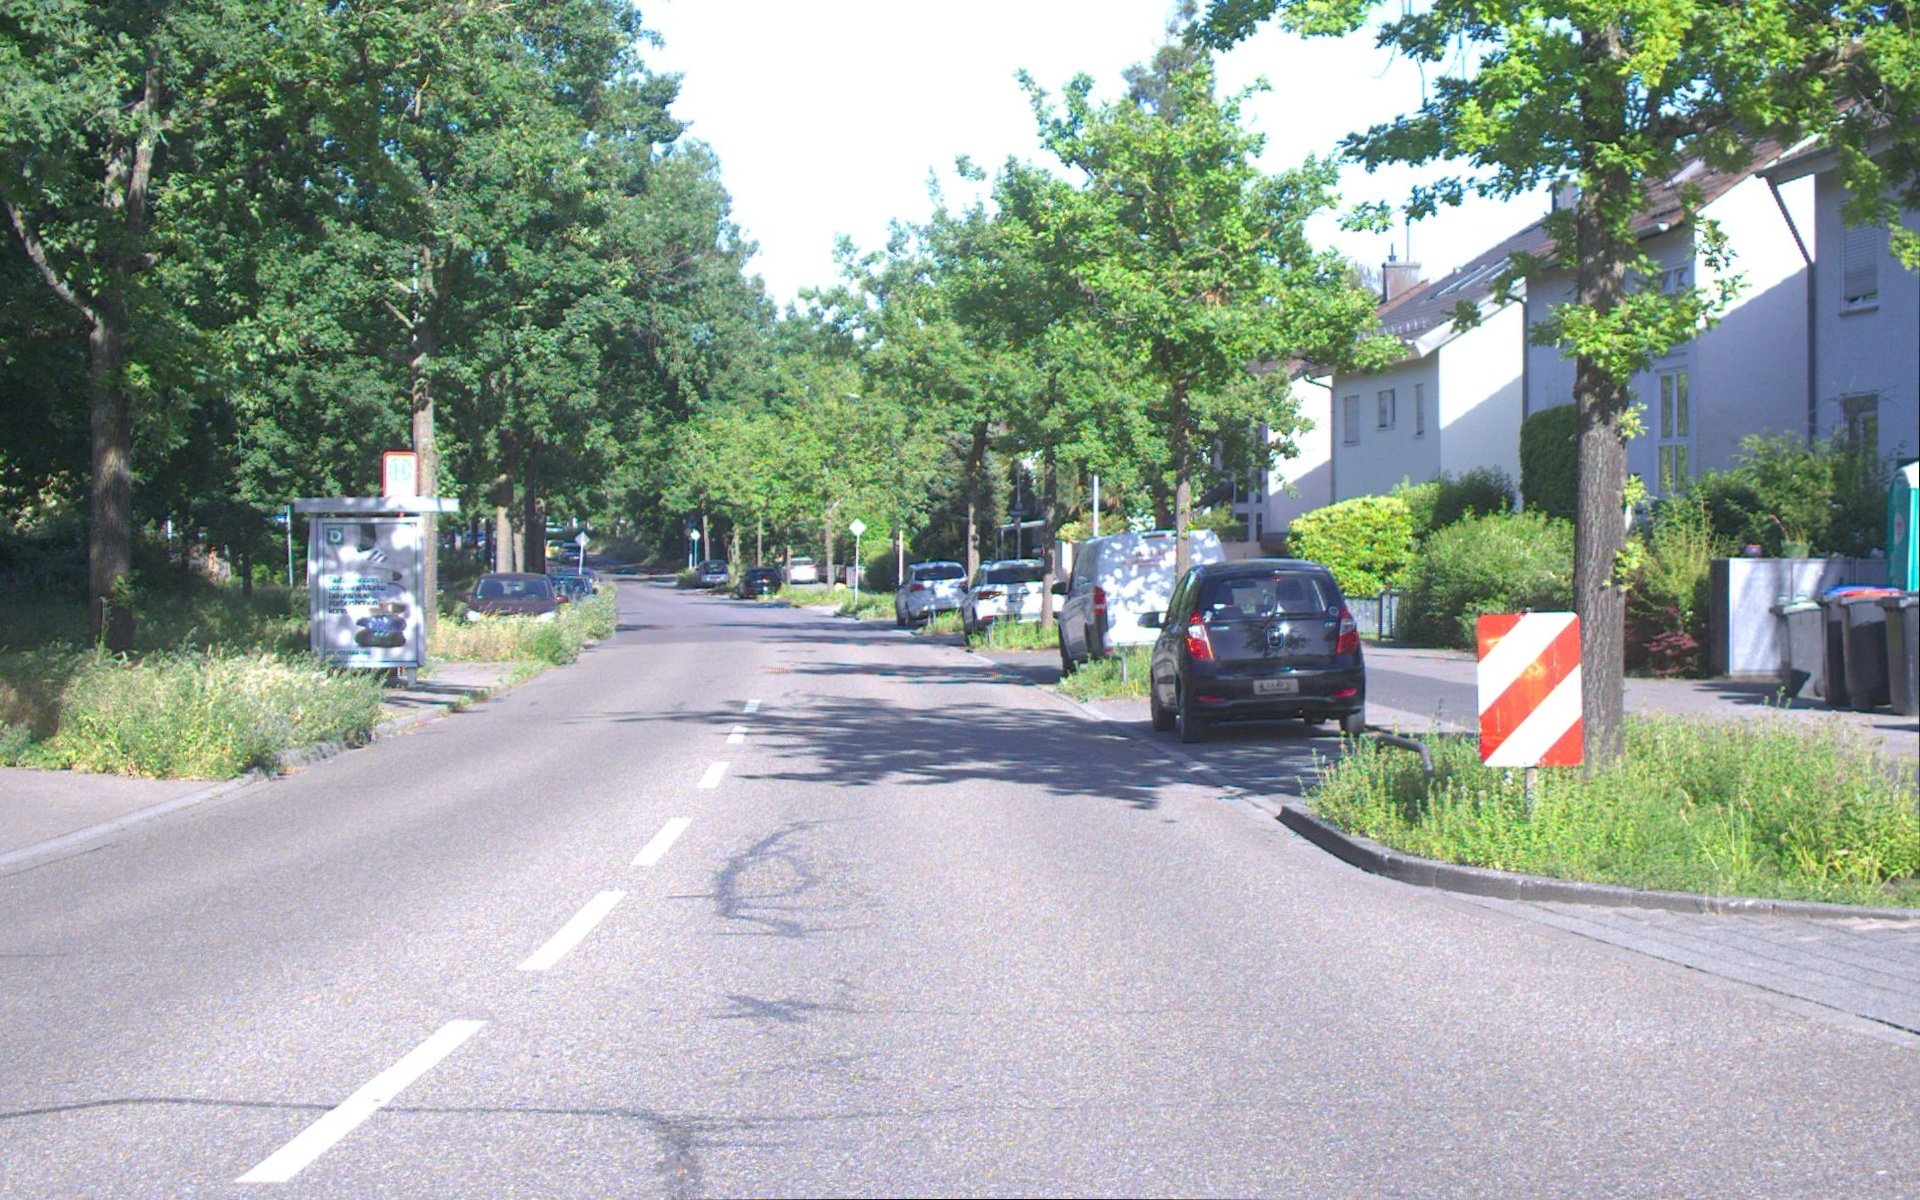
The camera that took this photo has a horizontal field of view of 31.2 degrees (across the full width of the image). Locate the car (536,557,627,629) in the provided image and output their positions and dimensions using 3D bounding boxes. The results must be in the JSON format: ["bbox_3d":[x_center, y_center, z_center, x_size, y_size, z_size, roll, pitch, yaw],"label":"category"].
[{"bbox_3d":[-8.601,-0.173,78.142,1.993,1.551,4.001,1,0,-6],"label":"car"}]

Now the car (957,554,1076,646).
[{"bbox_3d":[1.058,-0.018,66.040,1.935,1.698,4.001,0,0,-4],"label":"car"}]

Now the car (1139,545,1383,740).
[{"bbox_3d":[2.619,0.336,30.630,1.672,1.573,3.752,-2,1,-2],"label":"car"}]

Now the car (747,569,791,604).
[{"bbox_3d":[-8.760,-0.626,157.373,1.933,1.537,4.001,0,0,-4],"label":"car"}]

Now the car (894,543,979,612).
[{"bbox_3d":[-0.632,-0.579,88.652,1.933,1.736,4.001,0,0,-4],"label":"car"}]

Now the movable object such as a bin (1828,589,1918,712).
[{"bbox_3d":[8.038,0.437,30.284,0.603,1.066,0.646,0,0,-2],"label":"movable object such as a bin"}]

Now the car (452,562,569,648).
[{"bbox_3d":[-7.927,0.068,60.918,1.935,1.474,4.001,0,0,-6],"label":"car"}]

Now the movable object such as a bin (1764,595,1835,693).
[{"bbox_3d":[8.082,0.420,33.101,0.529,0.929,0.549,0,0,-2],"label":"movable object such as a bin"}]

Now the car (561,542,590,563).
[{"bbox_3d":[-27.053,-3.315,241.745,1.933,1.449,4.001,0,0,-5],"label":"car"}]

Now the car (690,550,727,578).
[{"bbox_3d":[-13.586,-1.935,185.561,1.933,1.449,4.001,0,0,-5],"label":"car"}]

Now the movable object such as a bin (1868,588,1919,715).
[{"bbox_3d":[8.145,0.432,29.323,0.603,1.066,0.646,0,0,-2],"label":"movable object such as a bin"}]

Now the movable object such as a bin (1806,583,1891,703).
[{"bbox_3d":[8.028,0.384,31.081,0.603,1.066,0.567,0,0,-2],"label":"movable object such as a bin"}]

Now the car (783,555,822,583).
[{"bbox_3d":[-8.416,-1.658,183.454,1.933,1.449,4.001,0,0,-5],"label":"car"}]

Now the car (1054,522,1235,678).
[{"bbox_3d":[2.398,-0.020,45.839,1.835,1.964,4.759,0,0,-4],"label":"car"}]
